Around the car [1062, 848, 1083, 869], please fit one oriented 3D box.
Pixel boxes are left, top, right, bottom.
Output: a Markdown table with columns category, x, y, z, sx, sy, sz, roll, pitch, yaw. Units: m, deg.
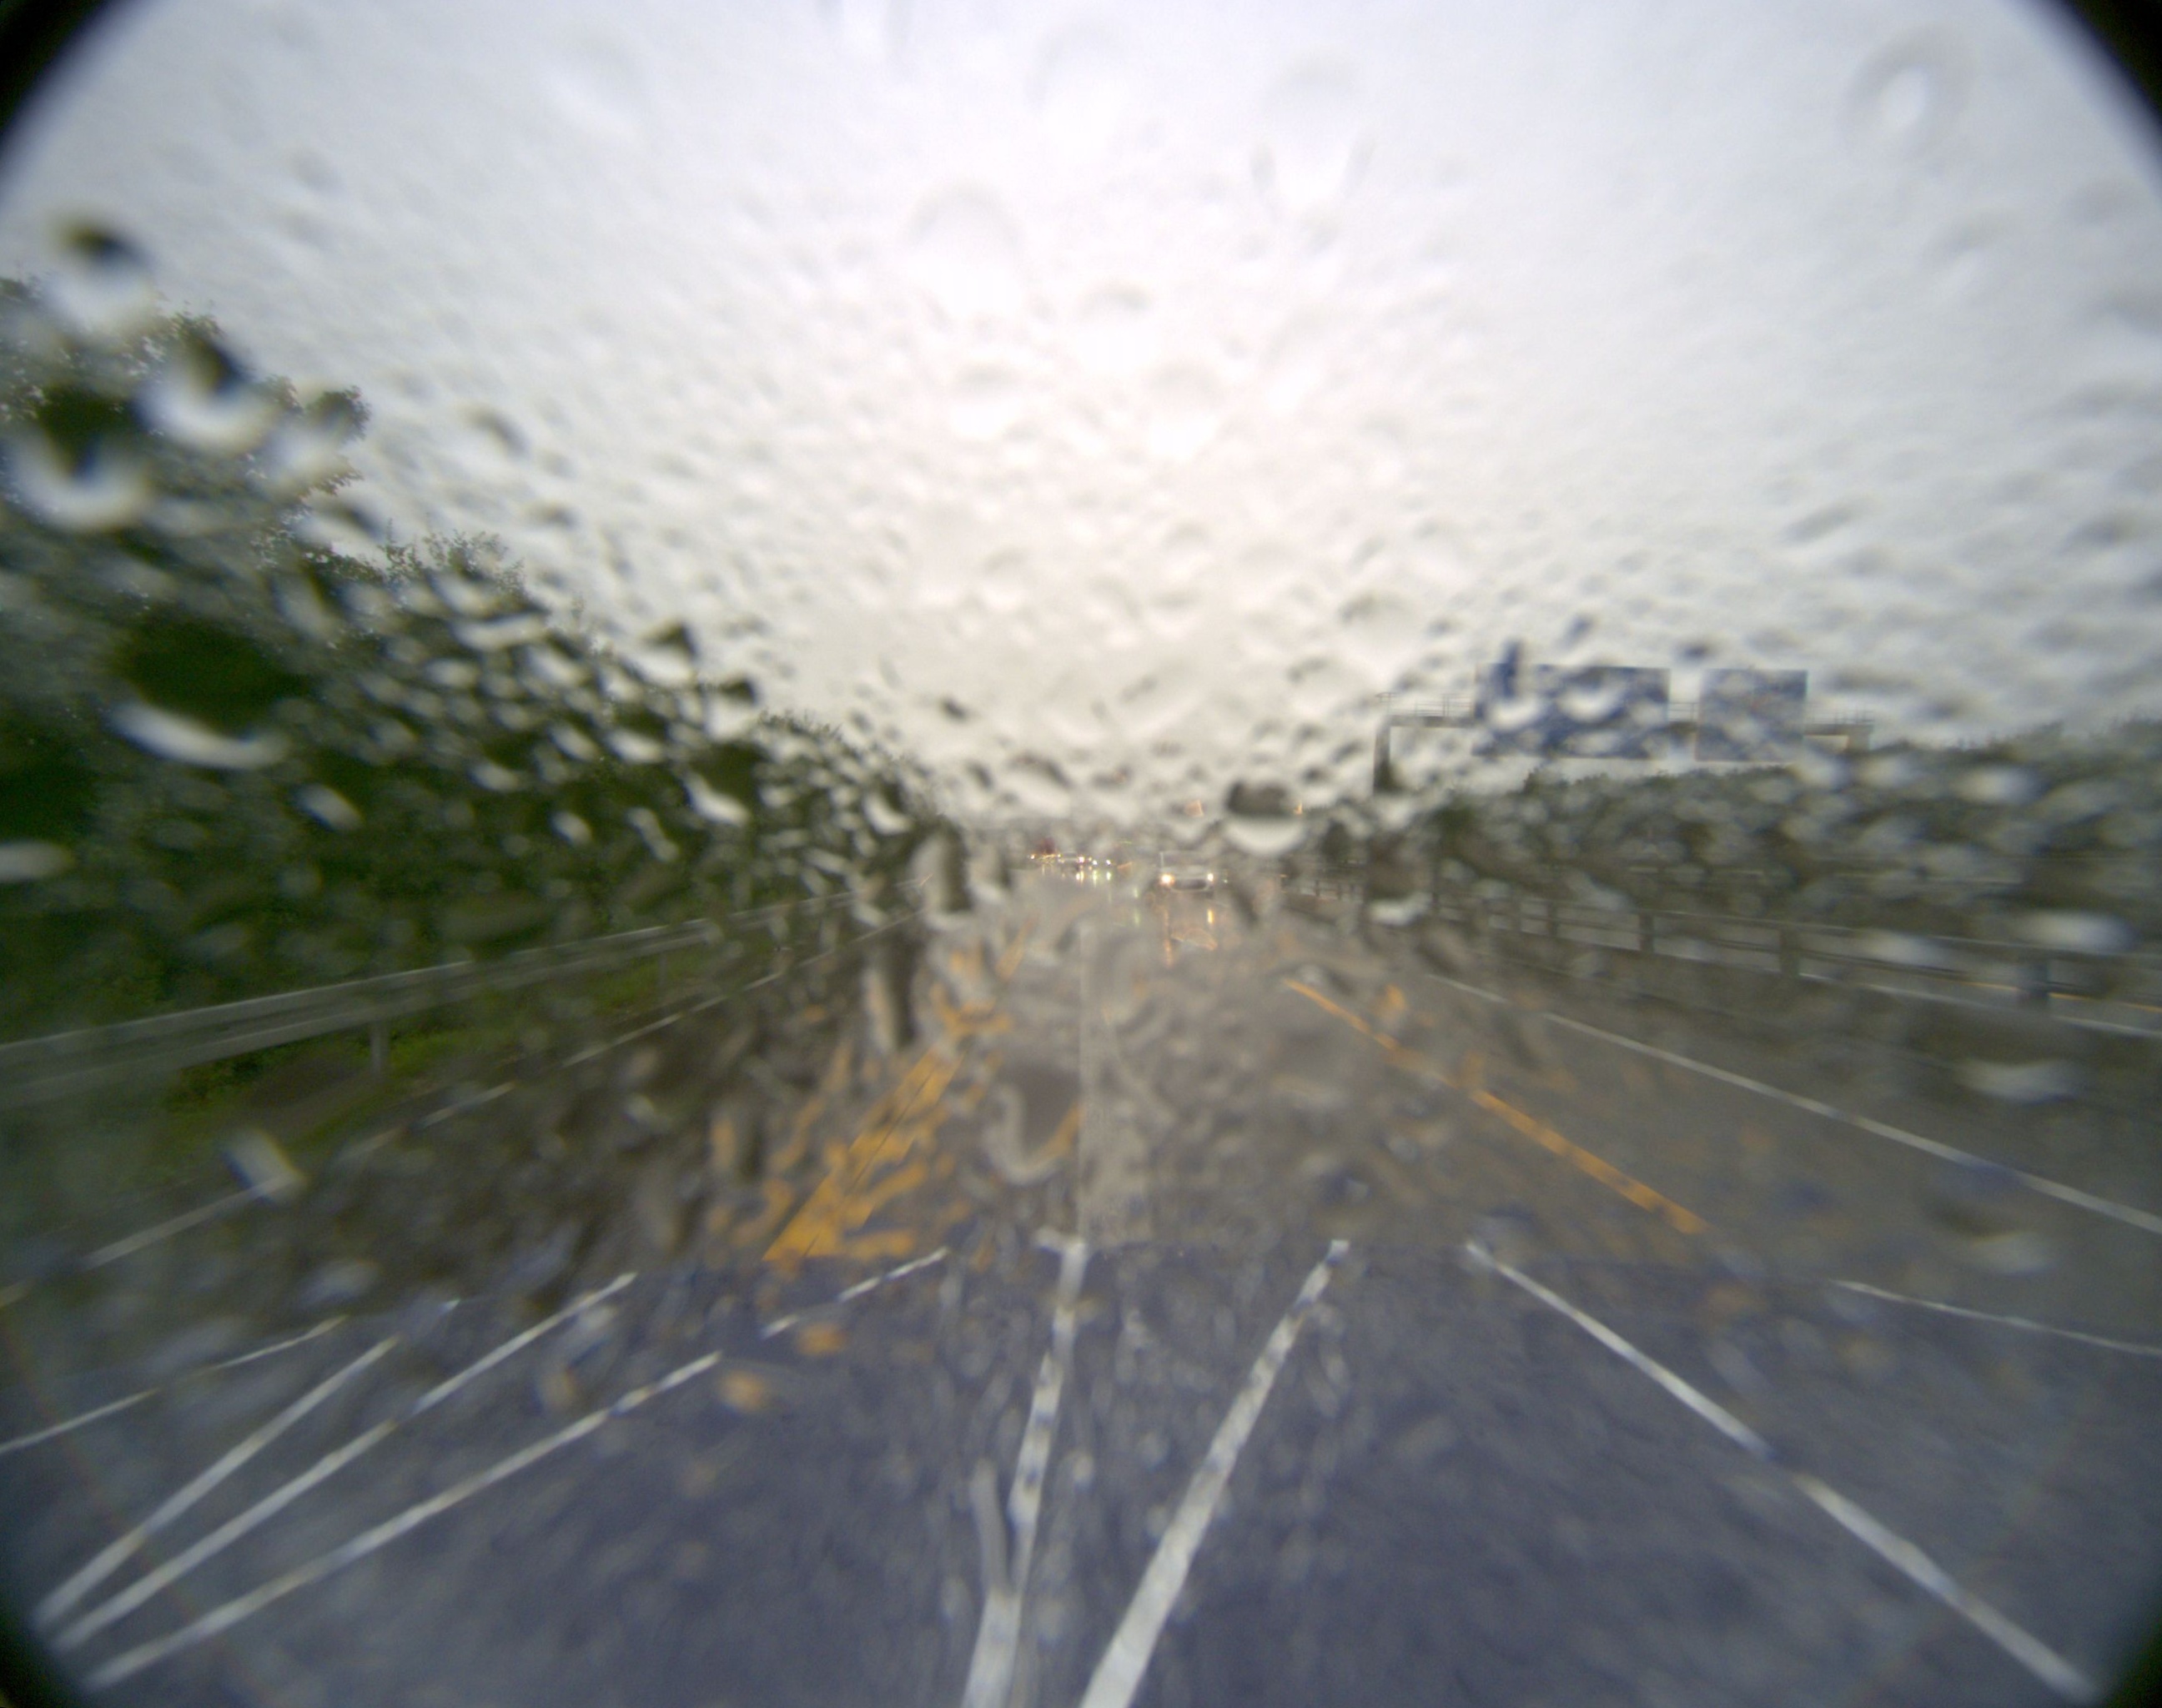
| category | x | y | z | sx | sy | sz | roll | pitch | yaw |
| --- | --- | --- | --- | --- | --- | --- | --- | --- | --- |
| car | -0.931 | 0.469 | 78.469 | 1.882 | 2.002 | 3.998 | -2 | 1 | -3 |

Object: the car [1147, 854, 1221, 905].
| category | x | y | z | sx | sy | sz | roll | pitch | yaw |
| --- | --- | --- | --- | --- | --- | --- | --- | --- | --- |
| car | 3.481 | 0.857 | 26.534 | 1.978 | 1.586 | 4.310 | -1 | -1 | 0 |

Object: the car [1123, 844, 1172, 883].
| category | x | y | z | sx | sy | sz | roll | pitch | yaw |
| --- | --- | --- | --- | --- | --- | --- | --- | --- | --- |
| car | 3.715 | 0.499 | 43.474 | 2.211 | 2.002 | 5.562 | -2 | 1 | -1 |

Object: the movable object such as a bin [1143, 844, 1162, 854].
| category | x | y | z | sx | sy | sz | roll | pitch | yaw |
| --- | --- | --- | --- | --- | --- | --- | --- | --- | --- |
| movable object such as a bin | 17.658 | -1.331 | 188.523 | 3.449 | 2.281 | 5.096 | -2 | 1 | -9 |

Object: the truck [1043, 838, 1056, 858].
| category | x | y | z | sx | sy | sz | roll | pitch | yaw |
| --- | --- | --- | --- | --- | --- | --- | --- | --- | --- |
| truck | -6.859 | -1.370 | 162.471 | 2.484 | 4.061 | 8.700 | -2 | 1 | -3 |

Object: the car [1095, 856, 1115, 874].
| category | x | y | z | sx | sy | sz | roll | pitch | yaw |
| --- | --- | --- | --- | --- | --- | --- | --- | --- | --- |
| car | 2.441 | 1.097 | 79.476 | 1.695 | 1.740 | 3.998 | -2 | 1 | -3 |

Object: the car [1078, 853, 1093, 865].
| category | x | y | z | sx | sy | sz | roll | pitch | yaw |
| --- | --- | --- | --- | --- | --- | --- | --- | --- | --- |
| car | 0.585 | 0.684 | 108.322 | 1.845 | 1.586 | 3.998 | -2 | 1 | -3 |

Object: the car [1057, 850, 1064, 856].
| category | x | y | z | sx | sy | sz | roll | pitch | yaw |
| --- | --- | --- | --- | --- | --- | --- | --- | --- | --- |
| car | -5.087 | -0.255 | 187.298 | 1.752 | 1.579 | 3.998 | -2 | 1 | -3 |

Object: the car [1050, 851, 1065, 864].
| category | x | y | z | sx | sy | sz | roll | pitch | yaw |
| --- | --- | --- | --- | --- | --- | --- | --- | --- | --- |
| car | -3.205 | 0.513 | 102.232 | 1.882 | 1.656 | 3.998 | -2 | 1 | -4 |

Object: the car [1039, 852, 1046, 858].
| category | x | y | z | sx | sy | sz | roll | pitch | yaw |
| --- | --- | --- | --- | --- | --- | --- | --- | --- | --- |
| car | -10.633 | 0.201 | 208.181 | 1.752 | 1.579 | 3.998 | -2 | 1 | -3 |

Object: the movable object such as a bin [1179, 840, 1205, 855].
| category | x | y | z | sx | sy | sz | roll | pitch | yaw |
| --- | --- | --- | --- | --- | --- | --- | --- | --- | --- |
| movable object such as a bin | 21.524 | -1.218 | 147.304 | 3.775 | 2.782 | 6.327 | -2 | 1 | -2 |
